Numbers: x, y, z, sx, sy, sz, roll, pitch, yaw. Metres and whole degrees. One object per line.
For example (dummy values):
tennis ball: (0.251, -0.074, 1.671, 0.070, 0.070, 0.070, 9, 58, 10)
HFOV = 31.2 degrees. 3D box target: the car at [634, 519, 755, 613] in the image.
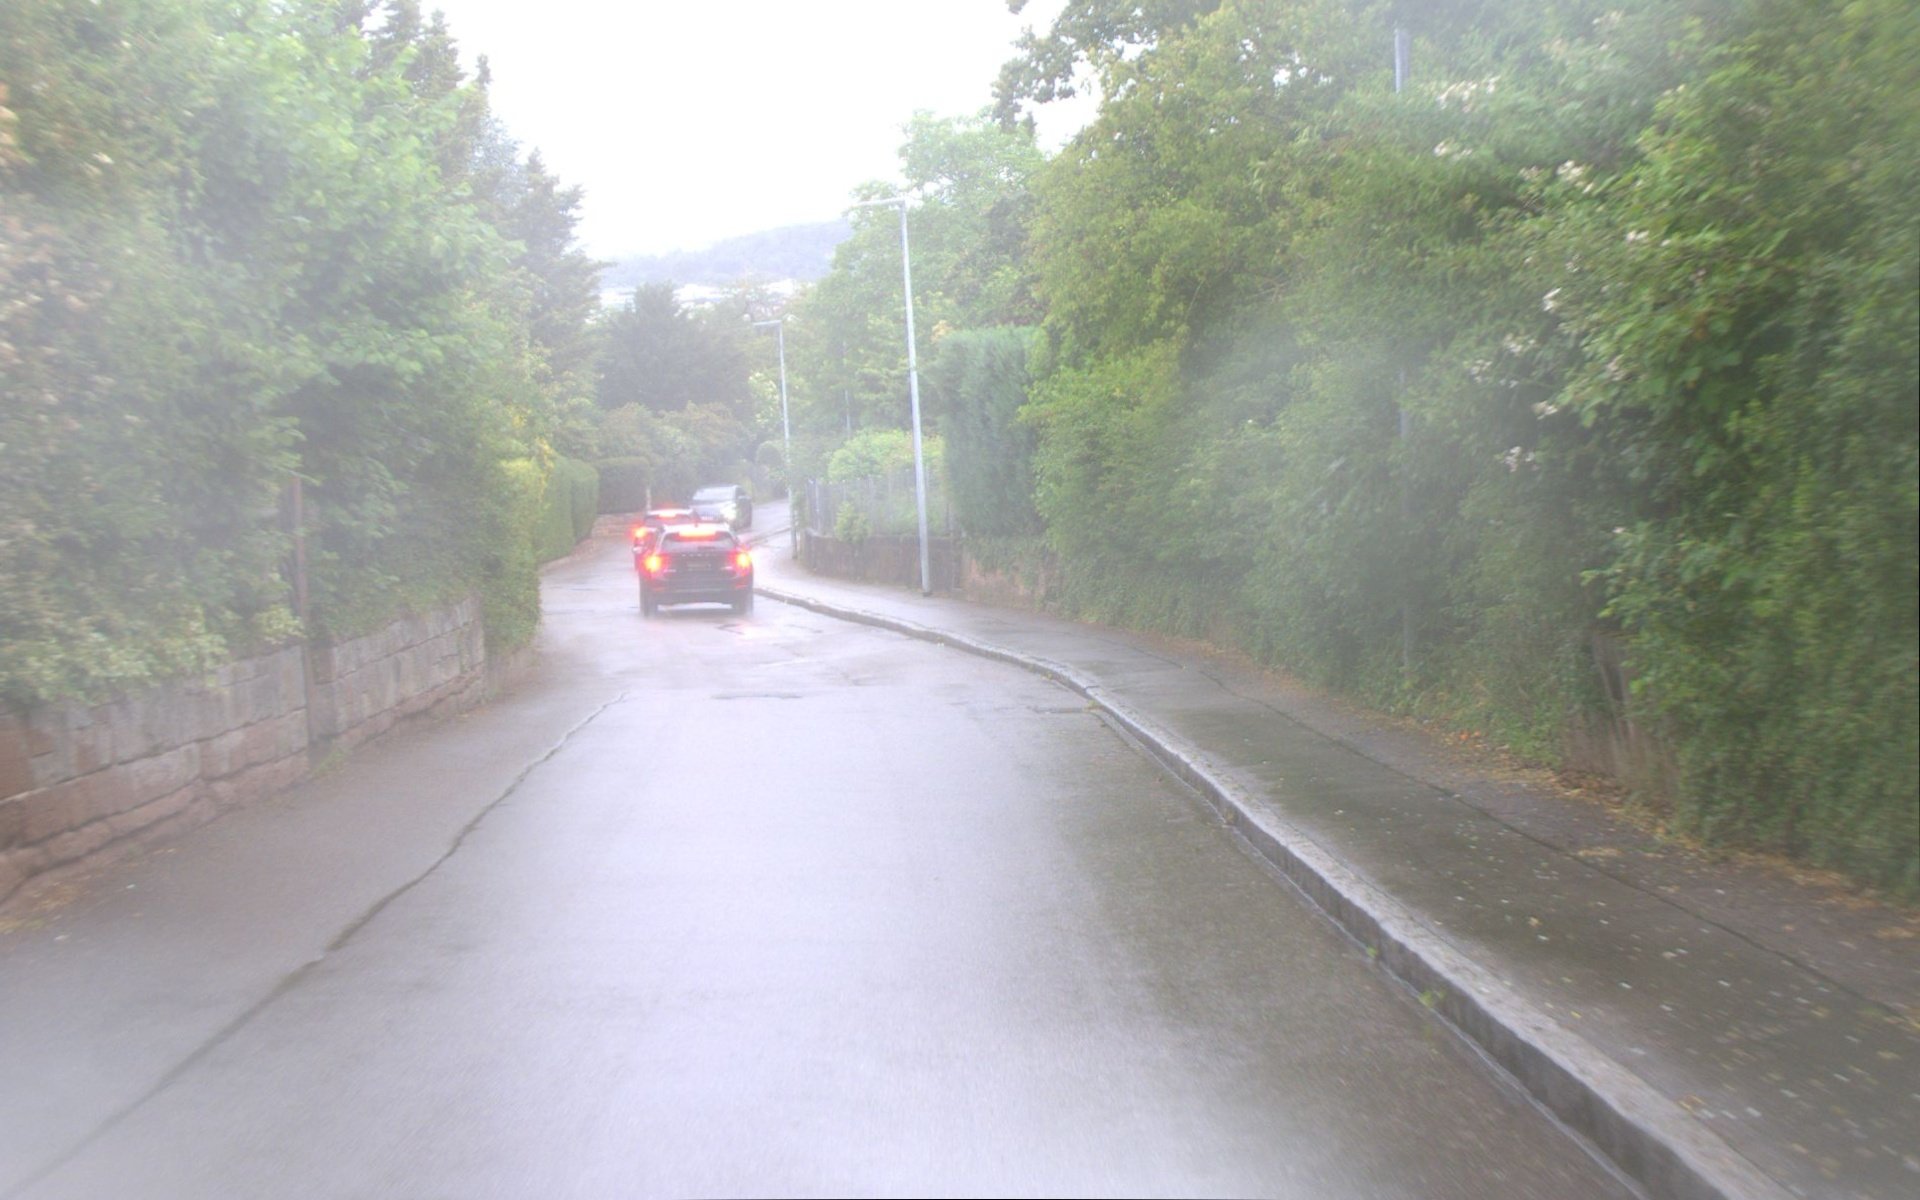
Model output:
car: (-4.352, -0.581, 55.955, 1.834, 1.459, 4.001, -1, 1, -6)

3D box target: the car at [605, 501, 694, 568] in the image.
car: (-7.980, -1.711, 88.620, 1.678, 1.559, 3.794, -1, 3, 4)
